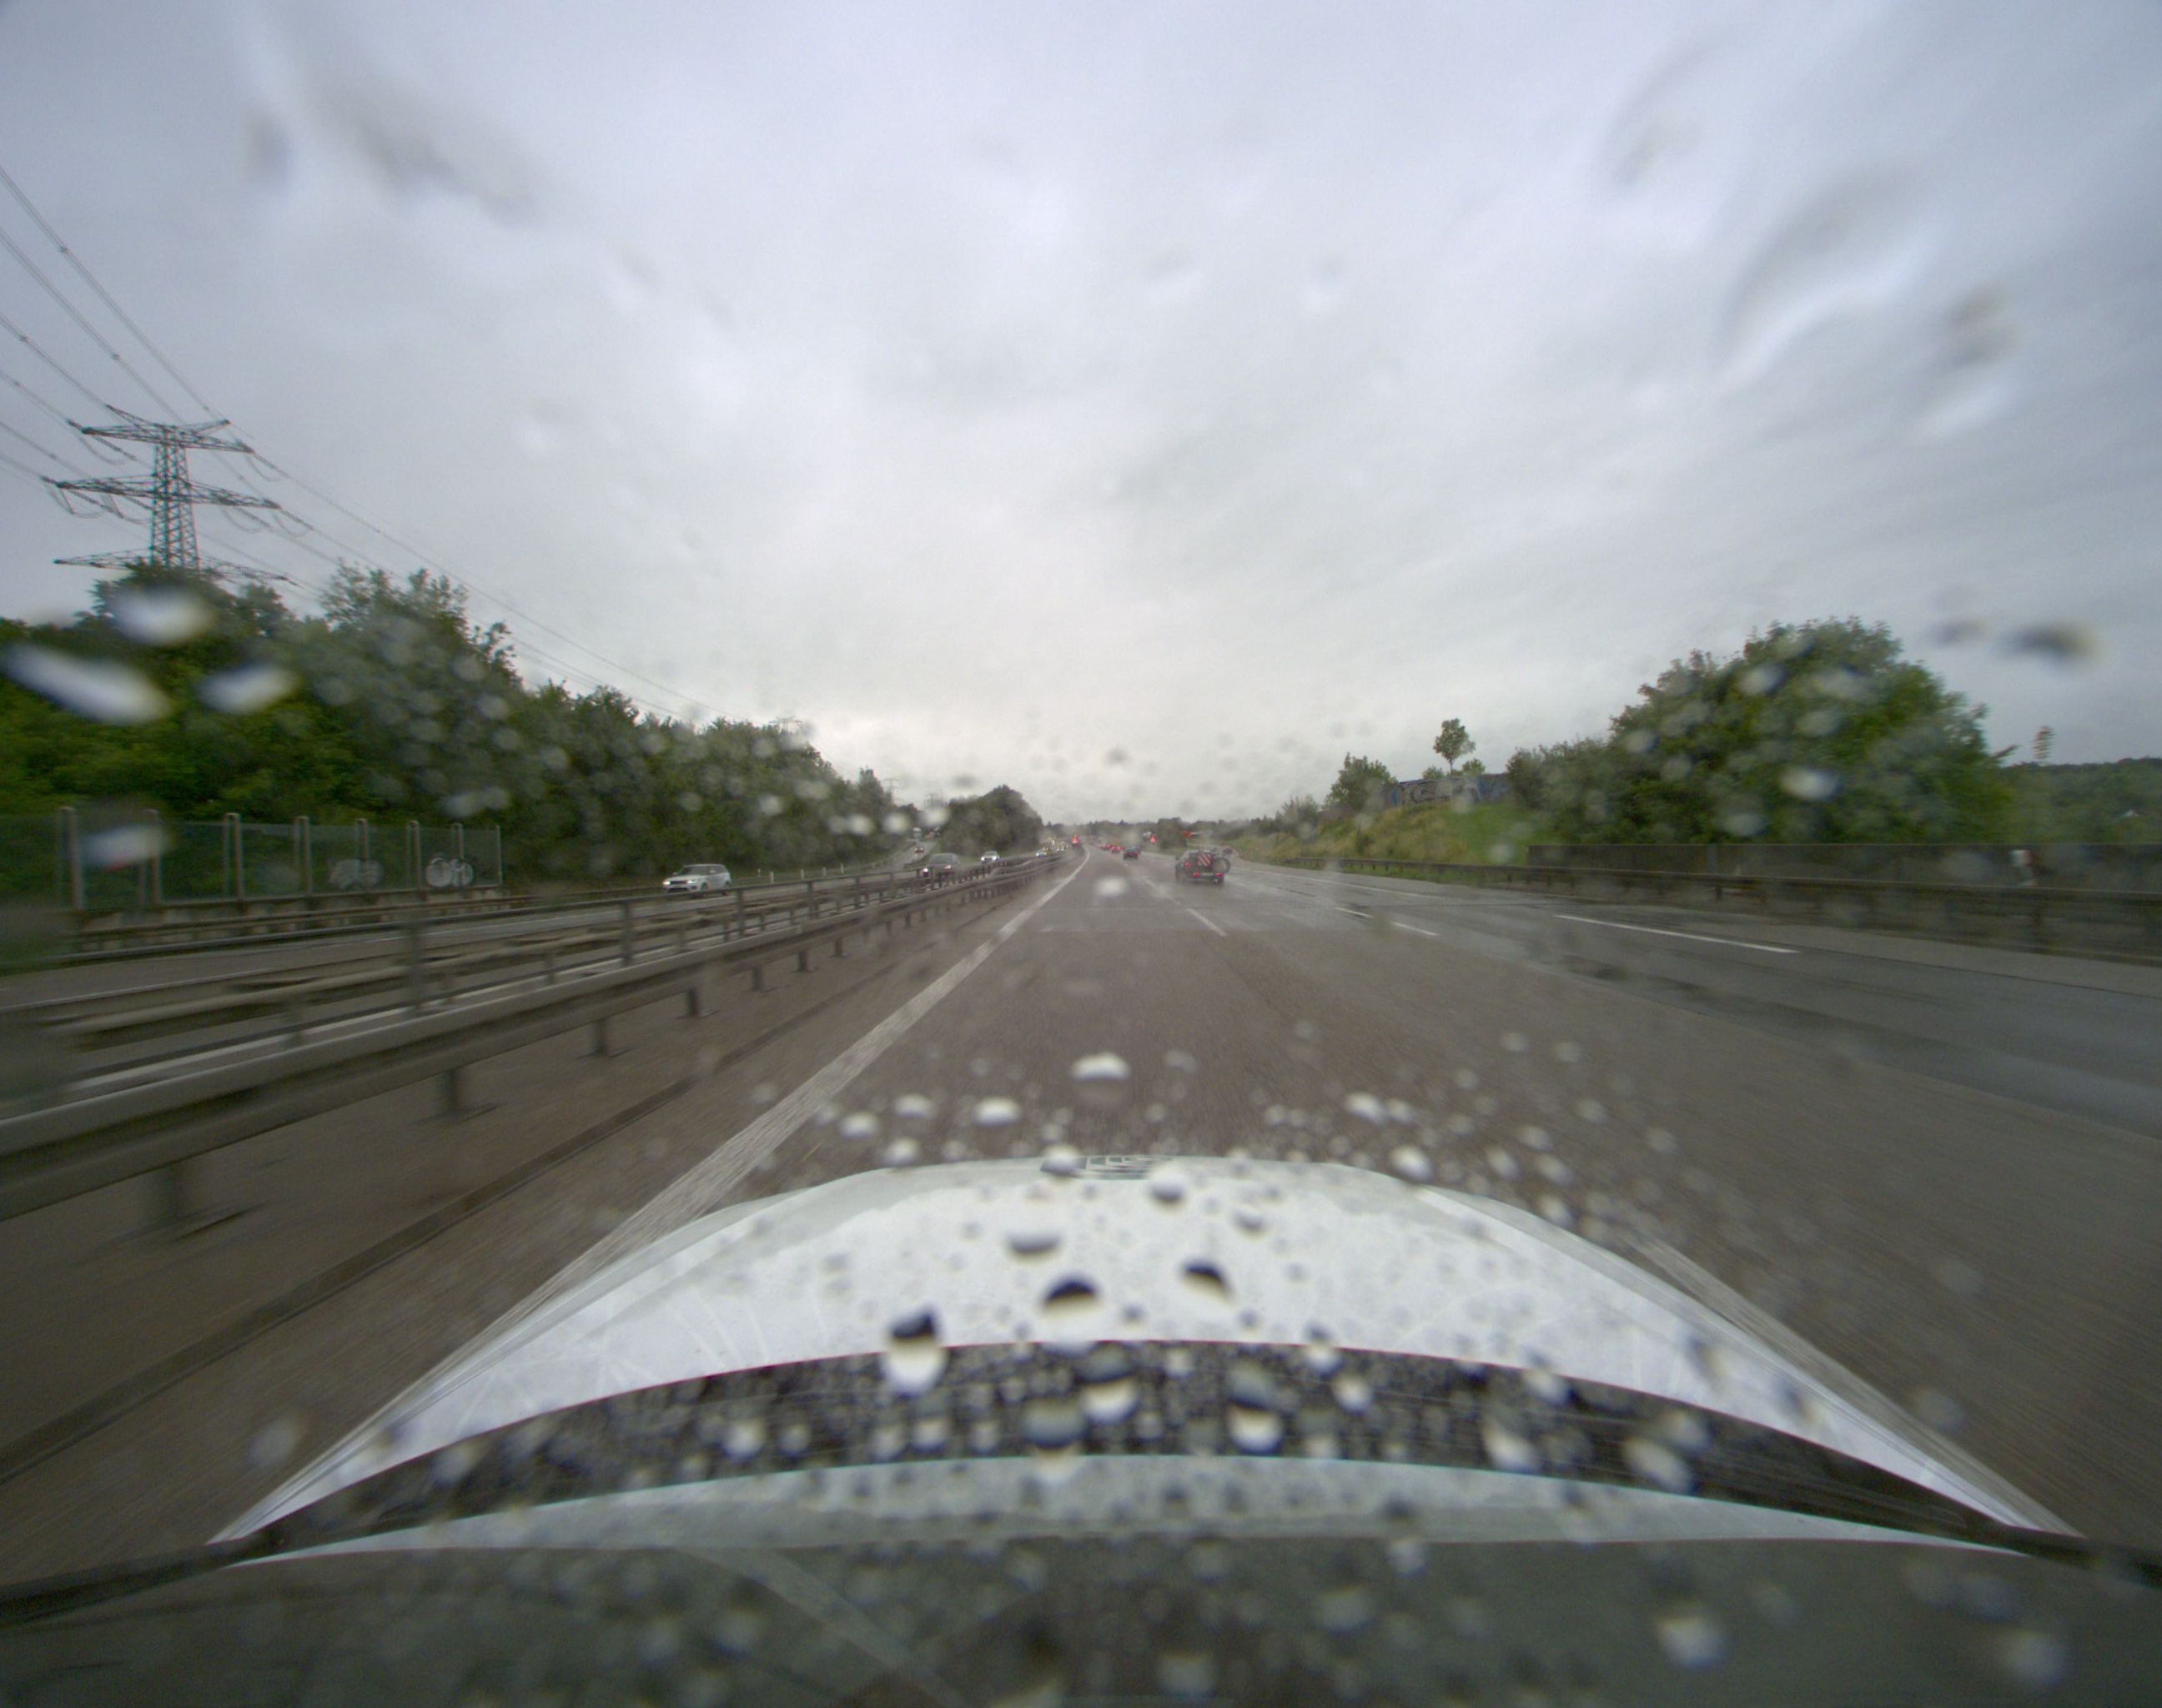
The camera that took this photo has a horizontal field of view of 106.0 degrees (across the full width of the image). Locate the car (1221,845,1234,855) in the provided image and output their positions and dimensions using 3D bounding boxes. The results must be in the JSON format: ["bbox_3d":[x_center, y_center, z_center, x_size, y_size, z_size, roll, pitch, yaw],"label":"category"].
[{"bbox_3d":[25.609,-0.683,142.758,1.912,1.709,4.008,-2,1,7],"label":"car"}]

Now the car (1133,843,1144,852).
[{"bbox_3d":[11.518,-1.258,163.231,1.987,1.760,4.000,1,1,0],"label":"car"}]

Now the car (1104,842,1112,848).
[{"bbox_3d":[7.693,-2.533,232.030,1.987,1.628,4.000,-2,1,0],"label":"car"}]

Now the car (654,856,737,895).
[{"bbox_3d":[-20.257,1.075,43.039,1.942,1.819,4.917,-2,1,1],"label":"car"}]

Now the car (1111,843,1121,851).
[{"bbox_3d":[7.436,-1.426,173.654,1.987,1.628,4.000,-2,1,0],"label":"car"}]

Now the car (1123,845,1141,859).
[{"bbox_3d":[6.589,-0.263,104.789,1.987,1.760,4.000,-2,1,0],"label":"car"}]

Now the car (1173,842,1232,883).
[{"bbox_3d":[5.296,0.335,36.186,2.049,1.671,5.526,0,0,3],"label":"car"}]

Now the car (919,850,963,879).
[{"bbox_3d":[-8.238,0.580,48.253,1.822,1.593,3.817,-2,1,1],"label":"car"}]

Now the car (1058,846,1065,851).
[{"bbox_3d":[-5.619,-1.609,237.221,1.816,1.512,4.791,-3,1,1],"label":"car"}]

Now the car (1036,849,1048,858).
[{"bbox_3d":[-6.792,-0.144,142.073,1.751,1.461,4.763,-3,0,1],"label":"car"}]

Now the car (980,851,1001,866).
[{"bbox_3d":[-10.964,0.553,99.308,1.898,1.665,4.715,-2,0,1],"label":"car"}]

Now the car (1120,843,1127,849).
[{"bbox_3d":[12.448,-2.399,239.319,1.987,1.628,4.000,-2,1,0],"label":"car"}]

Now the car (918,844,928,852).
[{"bbox_3d":[-34.464,-1.355,177.962,1.968,1.543,3.986,-2,1,-11],"label":"car"}]
